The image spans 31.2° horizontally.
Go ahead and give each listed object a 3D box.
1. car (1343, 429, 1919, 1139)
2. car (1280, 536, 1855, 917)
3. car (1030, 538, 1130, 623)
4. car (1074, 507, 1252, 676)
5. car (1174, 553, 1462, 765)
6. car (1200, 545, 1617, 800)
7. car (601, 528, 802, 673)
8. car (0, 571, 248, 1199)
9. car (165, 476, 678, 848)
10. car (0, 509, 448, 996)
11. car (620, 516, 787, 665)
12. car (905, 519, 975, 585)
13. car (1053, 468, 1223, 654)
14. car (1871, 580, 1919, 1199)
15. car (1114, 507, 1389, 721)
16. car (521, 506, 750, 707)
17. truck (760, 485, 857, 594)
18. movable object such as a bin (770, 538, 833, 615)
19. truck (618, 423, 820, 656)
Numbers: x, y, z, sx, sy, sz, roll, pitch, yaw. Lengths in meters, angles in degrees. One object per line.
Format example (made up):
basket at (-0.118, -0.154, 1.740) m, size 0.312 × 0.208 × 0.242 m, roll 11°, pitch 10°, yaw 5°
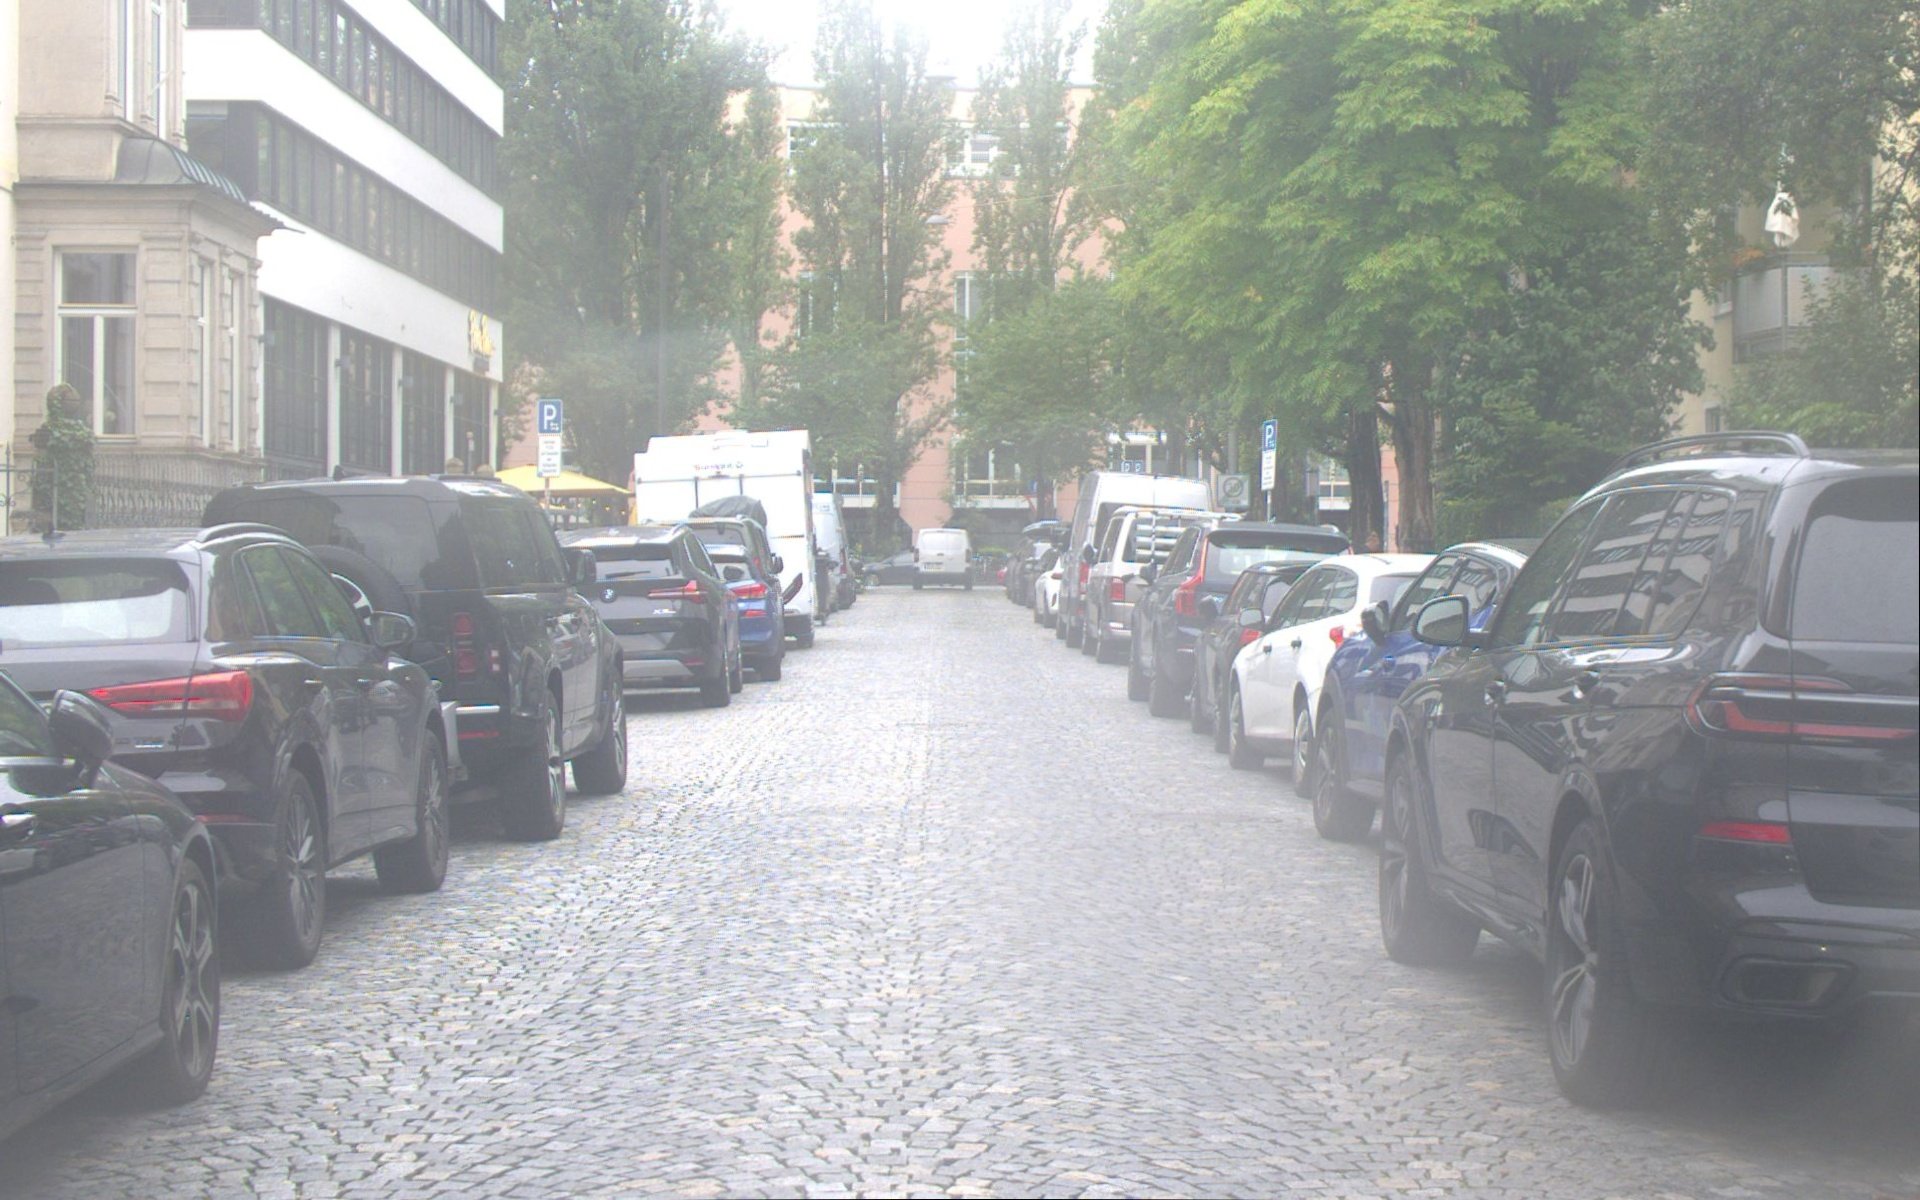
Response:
car at (2.501, 0.422, 10.876) m, size 1.875 × 1.667 × 5.491 m, roll 1°, pitch 1°, yaw -1°
car at (2.701, 0.499, 16.272) m, size 1.709 × 1.477 × 4.250 m, roll 3°, pitch 0°, yaw -3°
car at (2.153, -0.361, 62.317) m, size 1.599 × 1.481 × 3.479 m, roll 1°, pitch 0°, yaw -1°
car at (2.550, -0.132, 44.233) m, size 1.800 × 1.943 × 4.860 m, roll 4°, pitch 1°, yaw -1°
car at (2.691, 0.401, 26.633) m, size 1.683 × 1.448 × 3.966 m, roll 3°, pitch 1°, yaw -1°
car at (2.725, 0.394, 21.868) m, size 1.773 × 1.424 × 4.392 m, roll 1°, pitch 1°, yaw -4°
car at (-2.749, -0.016, 37.338) m, size 1.940 × 1.454 × 4.058 m, roll 1°, pitch 1°, yaw -1°
car at (-2.878, 0.647, 7.411) m, size 1.773 × 1.424 × 4.391 m, roll 1°, pitch 1°, yaw 0°
car at (-2.758, 0.244, 18.722) m, size 1.982 × 1.731 × 4.722 m, roll 1°, pitch 1°, yaw 1°
car at (-3.093, 0.496, 13.328) m, size 1.579 × 1.584 × 4.056 m, roll -1°, pitch 0°, yaw 0°
car at (-3.116, -0.153, 42.482) m, size 1.894 × 1.745 × 4.168 m, roll 0°, pitch 1°, yaw -2°
car at (-0.591, -1.459, 104.752) m, size 1.996 × 1.929 × 4.000 m, roll 1°, pitch 0°, yaw 1°
car at (2.518, -0.605, 49.981) m, size 1.895 × 2.418 × 5.611 m, roll 4°, pitch 1°, yaw -1°
car at (2.824, 0.748, 5.588) m, size 1.630 × 1.464 × 3.659 m, roll 3°, pitch 1°, yaw 0°
car at (2.554, 0.092, 31.267) m, size 1.963 × 1.753 × 4.954 m, roll 1°, pitch 1°, yaw -1°
car at (-2.951, 0.036, 32.018) m, size 1.773 × 1.712 × 4.391 m, roll 1°, pitch 1°, yaw -1°
truck at (-3.378, -1.348, 77.420) m, size 1.993 × 2.338 × 4.068 m, roll 1°, pitch 0°, yaw 0°
movable object such as a bin at (-2.866, -0.425, 62.278) m, size 1.064 × 1.359 × 1.289 m, roll 1°, pitch 0°, yaw 0°
truck at (-3.309, -0.878, 48.564) m, size 2.508 × 3.021 × 6.385 m, roll -1°, pitch 1°, yaw -1°
